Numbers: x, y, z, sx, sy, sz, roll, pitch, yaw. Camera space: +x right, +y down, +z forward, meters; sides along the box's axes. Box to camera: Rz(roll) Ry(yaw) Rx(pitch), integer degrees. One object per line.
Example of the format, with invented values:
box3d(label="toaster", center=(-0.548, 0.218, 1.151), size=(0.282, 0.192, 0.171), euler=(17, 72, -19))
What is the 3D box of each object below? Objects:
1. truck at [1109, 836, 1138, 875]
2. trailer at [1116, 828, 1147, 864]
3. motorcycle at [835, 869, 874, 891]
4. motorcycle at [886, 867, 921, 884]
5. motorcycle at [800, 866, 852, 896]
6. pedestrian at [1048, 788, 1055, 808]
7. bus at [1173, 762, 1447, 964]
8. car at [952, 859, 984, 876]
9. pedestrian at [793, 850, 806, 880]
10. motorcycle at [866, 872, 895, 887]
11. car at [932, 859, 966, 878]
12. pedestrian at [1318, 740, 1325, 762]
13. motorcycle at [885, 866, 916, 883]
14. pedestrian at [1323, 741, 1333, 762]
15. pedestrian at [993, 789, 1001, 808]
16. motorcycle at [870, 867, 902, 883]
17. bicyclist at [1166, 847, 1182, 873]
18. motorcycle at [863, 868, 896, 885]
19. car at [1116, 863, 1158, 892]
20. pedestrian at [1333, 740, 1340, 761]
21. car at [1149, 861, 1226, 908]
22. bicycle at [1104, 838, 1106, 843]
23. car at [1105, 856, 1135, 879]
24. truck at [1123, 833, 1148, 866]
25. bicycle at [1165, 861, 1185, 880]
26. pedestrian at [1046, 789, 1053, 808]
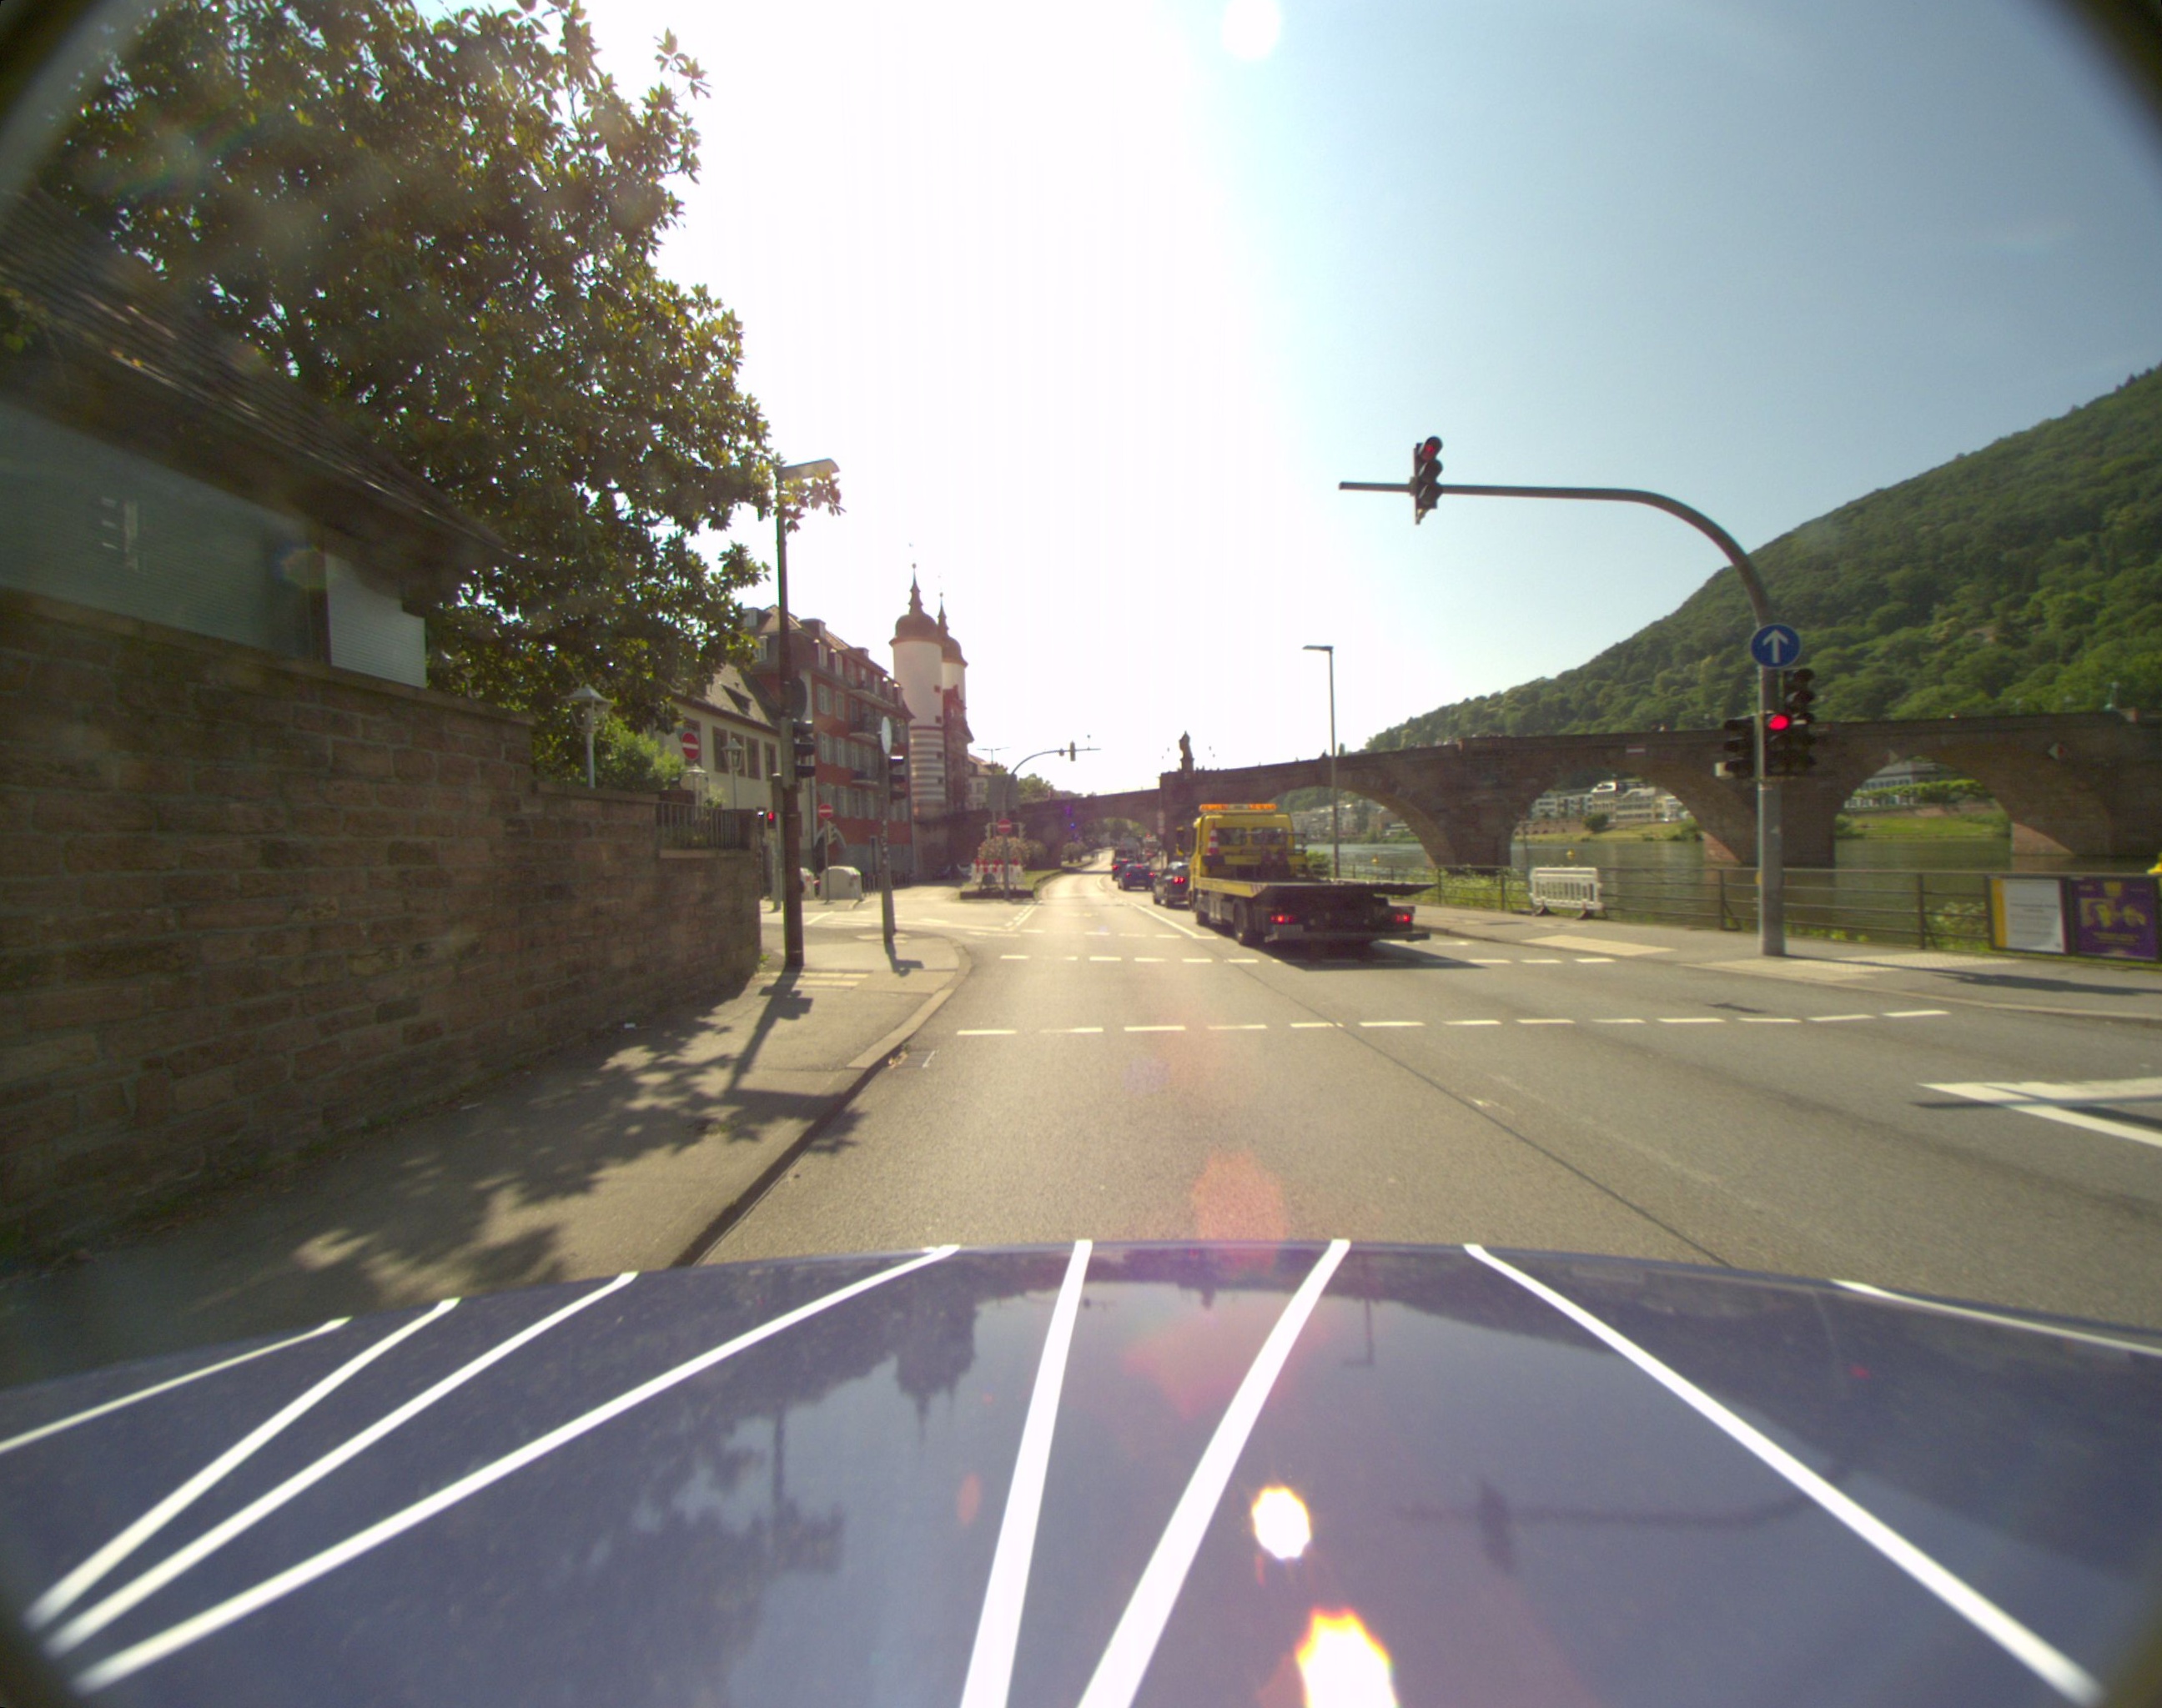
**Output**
box3d(label="truck", center=(3.912, 0.076, 69.000), size=(2.381, 3.243, 7.610), euler=(-1, 2, 4))
box3d(label="trailer", center=(5.576, -0.978, 82.621), size=(2.528, 3.623, 11.535), euler=(0, 1, 8))
box3d(label="motorcycle", center=(-14.035, 1.604, 47.104), size=(2.201, 1.260, 0.627), euler=(-2, 1, -32))
box3d(label="motorcycle", center=(-14.006, 1.677, 59.878), size=(2.548, 1.226, 0.840), euler=(-2, 0, -37))
box3d(label="motorcycle", center=(-14.088, 1.447, 42.050), size=(2.502, 1.524, 1.051), euler=(-2, 1, -34))
box3d(label="pedestrian", center=(-3.097, -5.955, 80.655), size=(0.640, 2.002, 0.707), euler=(-1, 2, 7))
box3d(label="bus", center=(3.805, 0.190, 15.096), size=(2.604, 2.879, 8.446), euler=(0, -1, -2))
box3d(label="car", center=(-11.226, 1.323, 75.777), size=(1.896, 1.484, 4.418), euler=(-1, 1, 9))
box3d(label="pedestrian", center=(-17.398, 0.660, 46.977), size=(0.496, 1.813, 0.619), euler=(-1, 2, 0))
box3d(label="motorcycle", center=(-14.103, 1.776, 53.522), size=(1.935, 0.981, 0.546), euler=(-2, 1, -40))
box3d(label="car", center=(-12.289, 1.314, 71.025), size=(1.674, 1.533, 3.814), euler=(-2, 1, 13))
box3d(label="pedestrian", center=(23.481, -10.060, 74.104), size=(0.467, 2.002, 0.639), euler=(-1, 2, -1))
box3d(label="motorcycle", center=(-13.874, 1.537, 58.372), size=(2.157, 1.226, 0.840), euler=(-2, 0, -37))
box3d(label="pedestrian", center=(24.095, -10.004, 74.110), size=(0.695, 2.002, 0.625), euler=(-1, 2, -1))
box3d(label="pedestrian", center=(-8.782, -5.811, 79.408), size=(0.640, 2.002, 0.707), euler=(-1, 2, 7))
box3d(label="motorcycle", center=(-14.457, 1.554, 56.302), size=(2.202, 1.070, 0.626), euler=(-2, 1, -40))
box3d(label="bicyclist", center=(6.085, 0.400, 49.540), size=(0.669, 1.622, 0.979), euler=(-4, 1, -10))
box3d(label="motorcycle", center=(-14.554, 1.615, 54.808), size=(2.202, 1.141, 0.626), euler=(-2, 1, -40))
box3d(label="car", center=(3.004, 1.325, 41.759), size=(1.734, 1.481, 4.326), euler=(-1, -2, -3))
box3d(label="pedestrian", center=(24.871, -10.081, 73.973), size=(0.467, 2.002, 0.639), euler=(-1, 2, -1))
box3d(label="car", center=(3.489, 0.976, 25.689), size=(1.813, 1.398, 4.356), euler=(-1, 0, -2))
box3d(label="bicycle", center=(5.794, -3.202, 183.254), size=(0.476, 1.255, 2.163), euler=(1, 2, 7))
box3d(label="car", center=(2.897, 0.974, 57.259), size=(1.868, 1.671, 4.453), euler=(-1, 0, -2))
box3d(label="truck", center=(6.420, -0.565, 89.175), size=(2.528, 3.727, 6.249), euler=(0, 1, 8))
box3d(label="bicycle", center=(6.130, 1.033, 49.546), size=(0.669, 1.107, 2.032), euler=(-4, 2, -10))
box3d(label="pedestrian", center=(-3.370, -5.980, 81.562), size=(0.640, 2.002, 0.707), euler=(-1, 2, 7))
